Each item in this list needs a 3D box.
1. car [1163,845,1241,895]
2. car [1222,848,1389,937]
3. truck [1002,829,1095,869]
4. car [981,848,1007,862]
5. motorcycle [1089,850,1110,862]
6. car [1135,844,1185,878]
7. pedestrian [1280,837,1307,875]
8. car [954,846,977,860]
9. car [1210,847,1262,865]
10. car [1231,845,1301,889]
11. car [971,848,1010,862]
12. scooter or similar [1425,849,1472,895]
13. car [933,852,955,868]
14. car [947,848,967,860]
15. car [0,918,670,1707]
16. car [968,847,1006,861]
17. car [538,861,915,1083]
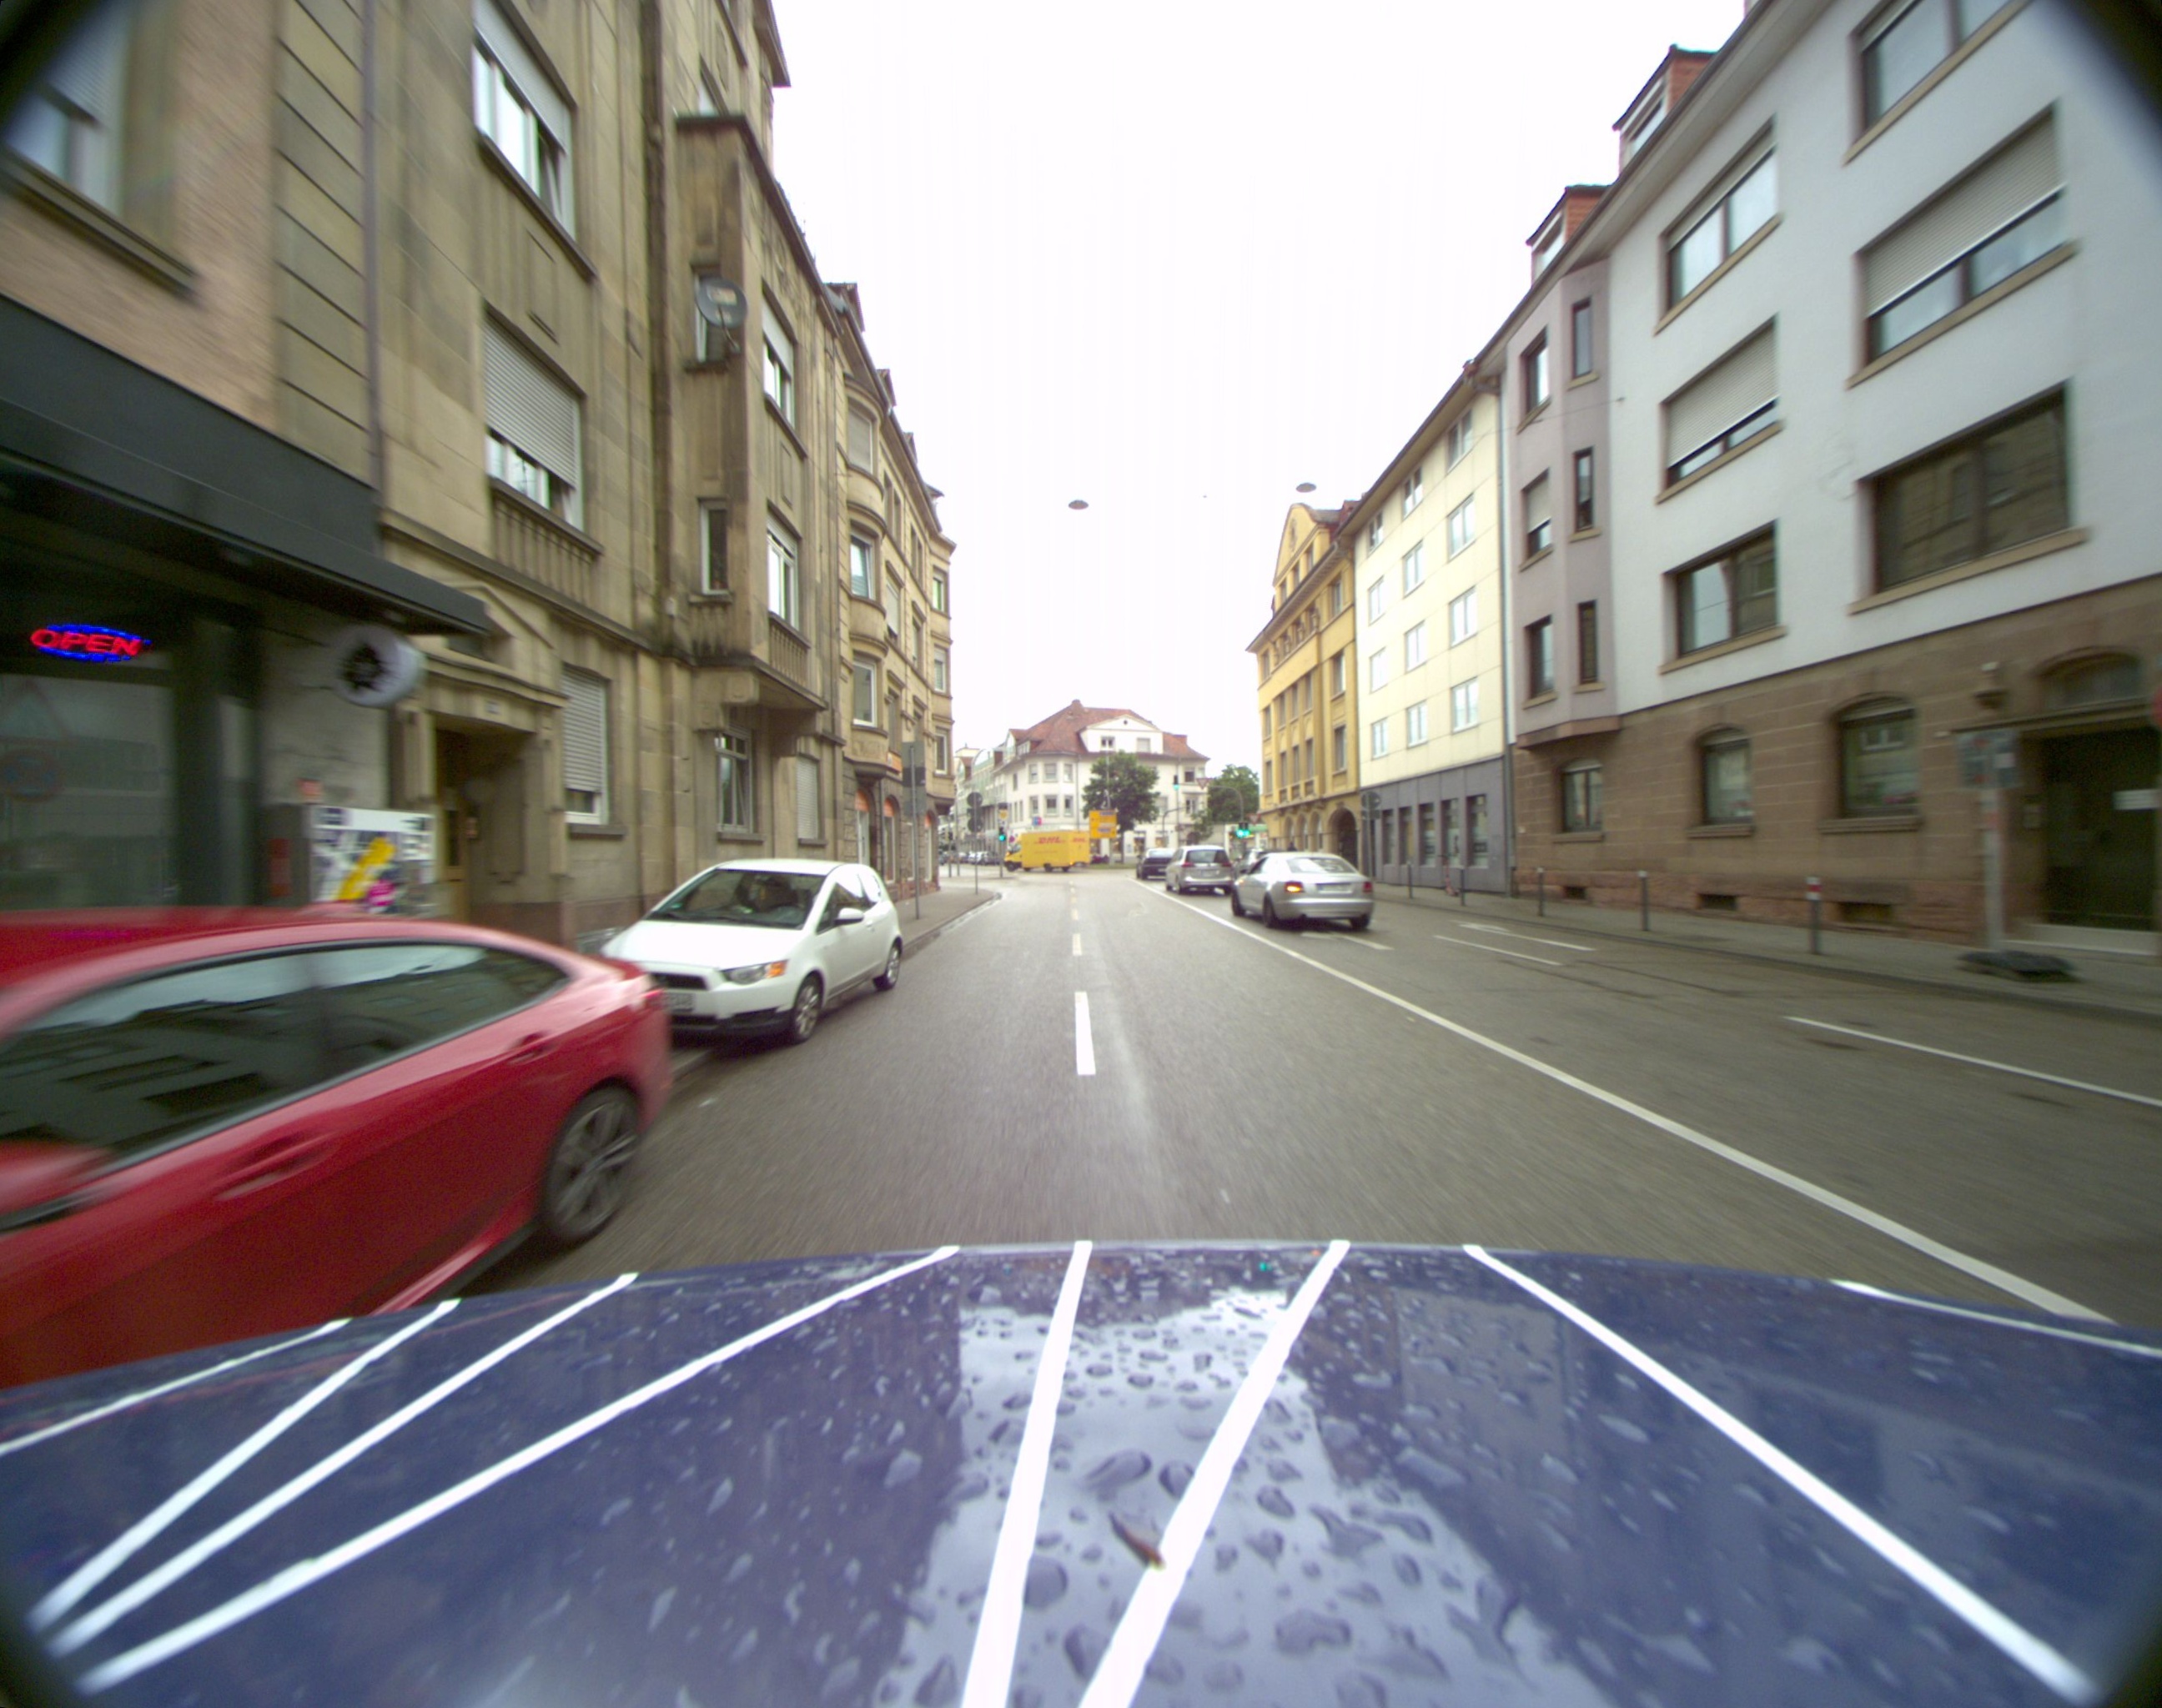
[{"bbox_3d":[4.152,0.494,26.791,1.948,1.574,4.519,-1,1,-1],"label":"car"},{"bbox_3d":[4.321,0.654,15.431,1.948,1.462,4.558,-1,1,-1],"label":"car"},{"bbox_3d":[-2.397,-0.384,54.534,7.003,2.735,2.240,0,2,40],"label":"truck"},{"bbox_3d":[-9.604,0.089,83.440,2.002,1.499,3.993,-1,1,-19],"label":"car"},{"bbox_3d":[1.879,0.224,77.061,2.014,1.142,0.718,-1,2,-18],"label":"motorcycle"},{"bbox_3d":[3.929,0.303,38.631,1.948,1.574,4.603,-1,1,-1],"label":"car"},{"bbox_3d":[10.550,0.093,37.754,0.895,1.761,1.032,-5,2,-3],"label":"pedestrian"},{"bbox_3d":[-14.471,-0.141,94.957,2.001,1.576,3.992,-7,3,-19],"label":"car"},{"bbox_3d":[13.618,0.163,66.864,4.042,1.509,2.021,-1,1,-19],"label":"car"},{"bbox_3d":[7.472,0.473,31.111,1.986,1.586,4.337,-1,1,2],"label":"car"},{"bbox_3d":[-10.428,0.051,87.358,4.004,1.499,1.996,-1,1,-22],"label":"car"},{"bbox_3d":[10.502,0.491,21.768,0.462,1.207,1.578,-5,1,-2],"label":"scooter or similar"},{"bbox_3d":[-17.018,0.693,94.252,2.002,1.904,3.992,-1,1,-20],"label":"car"},{"bbox_3d":[-16.441,-0.012,100.684,2.002,1.576,3.992,-1,1,-20],"label":"car"},{"bbox_3d":[-2.913,1.018,1.632,1.748,1.361,4.314,-1,0,-1],"label":"car"},{"bbox_3d":[-11.095,0.014,89.839,4.004,1.499,1.996,-1,1,-22],"label":"car"},{"bbox_3d":[-3.062,0.888,7.753,1.651,1.486,4.447,-1,1,1],"label":"car"}]
